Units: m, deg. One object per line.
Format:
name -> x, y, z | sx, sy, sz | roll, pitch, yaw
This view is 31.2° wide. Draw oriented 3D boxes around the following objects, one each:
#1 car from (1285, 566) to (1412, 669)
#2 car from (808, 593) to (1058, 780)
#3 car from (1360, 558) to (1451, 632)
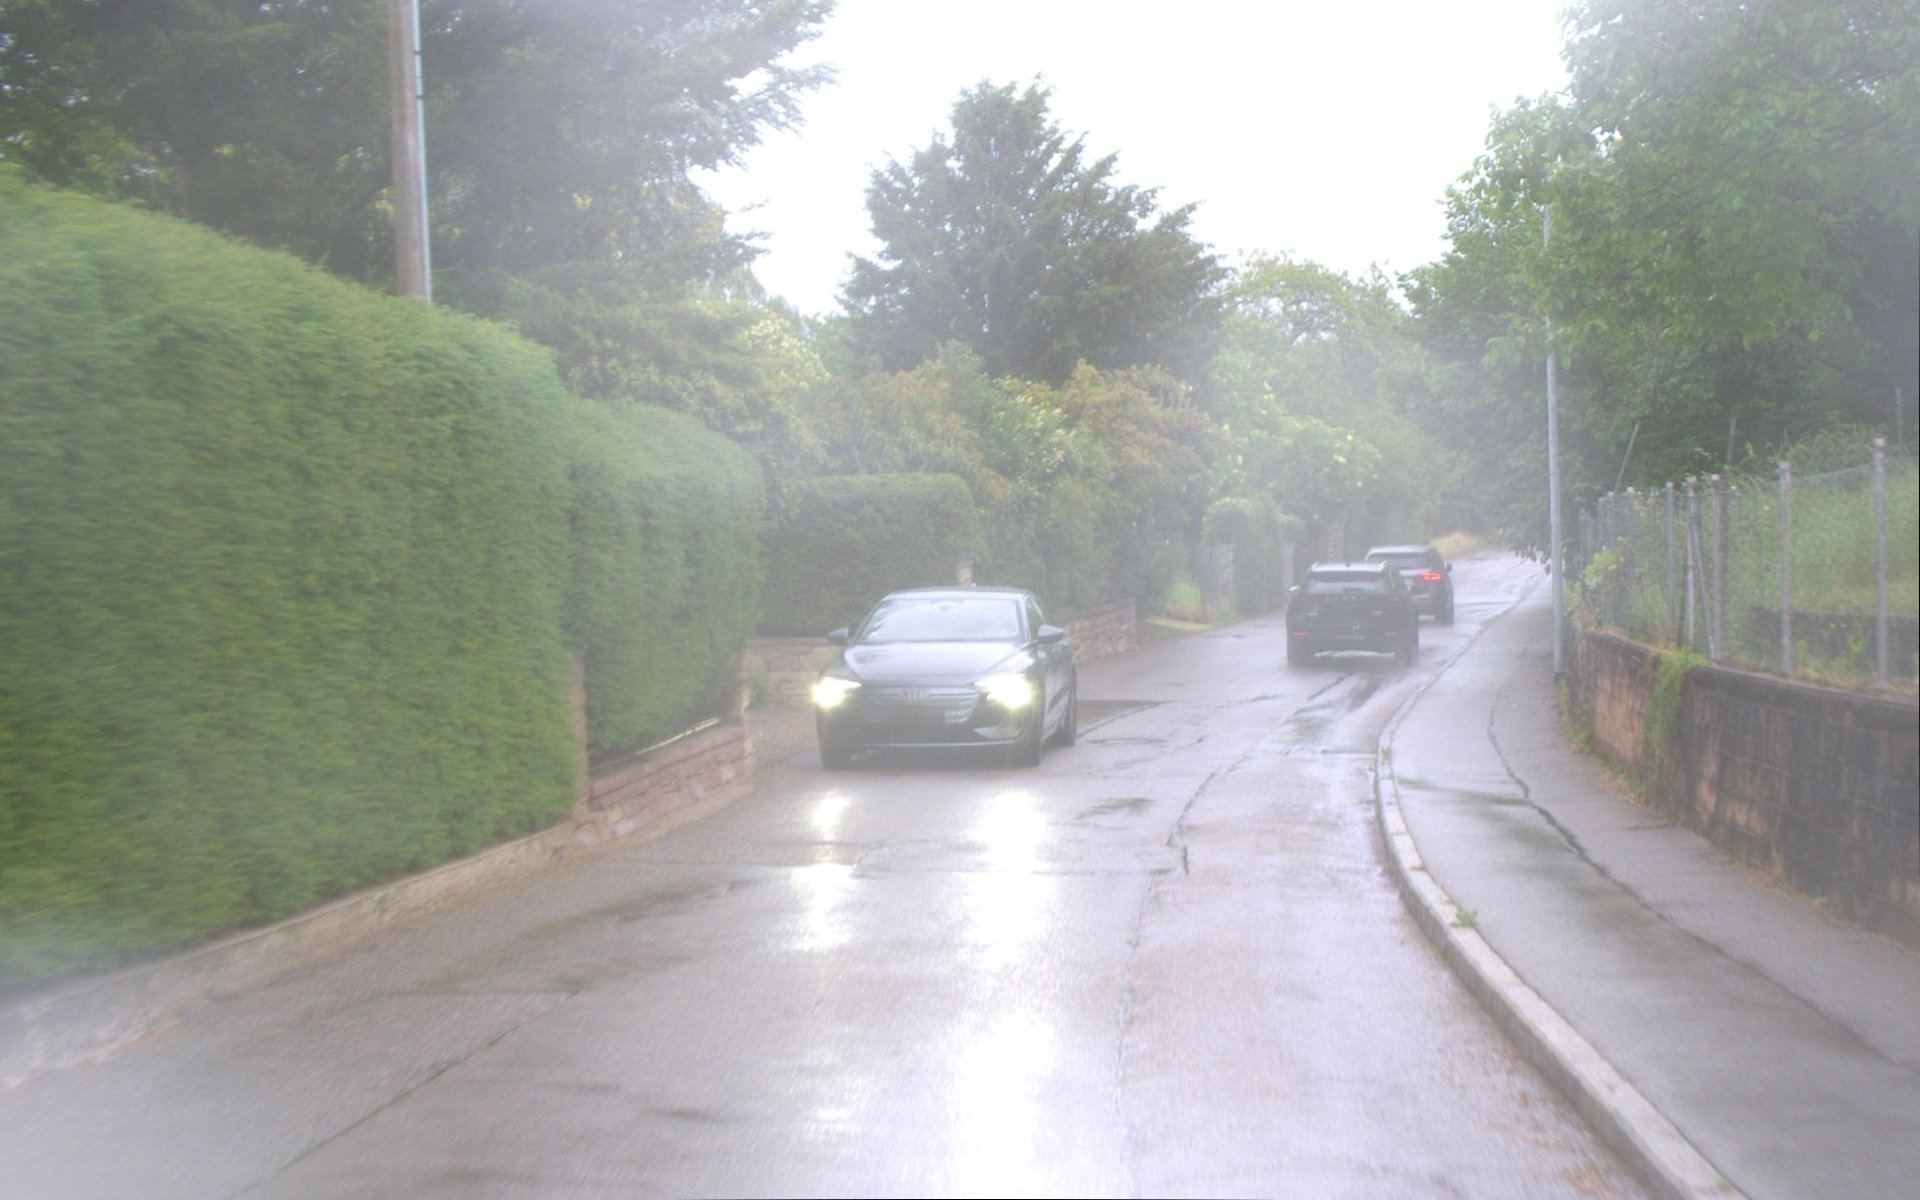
car -> 5.658, 0.242, 49.793 | 1.635, 1.445, 3.543 | 0, 0, 10
car -> -0.163, 0.716, 30.781 | 1.889, 1.518, 4.421 | 0, 0, 4
car -> 8.731, -0.105, 67.182 | 1.635, 1.409, 3.543 | 0, 0, 9
